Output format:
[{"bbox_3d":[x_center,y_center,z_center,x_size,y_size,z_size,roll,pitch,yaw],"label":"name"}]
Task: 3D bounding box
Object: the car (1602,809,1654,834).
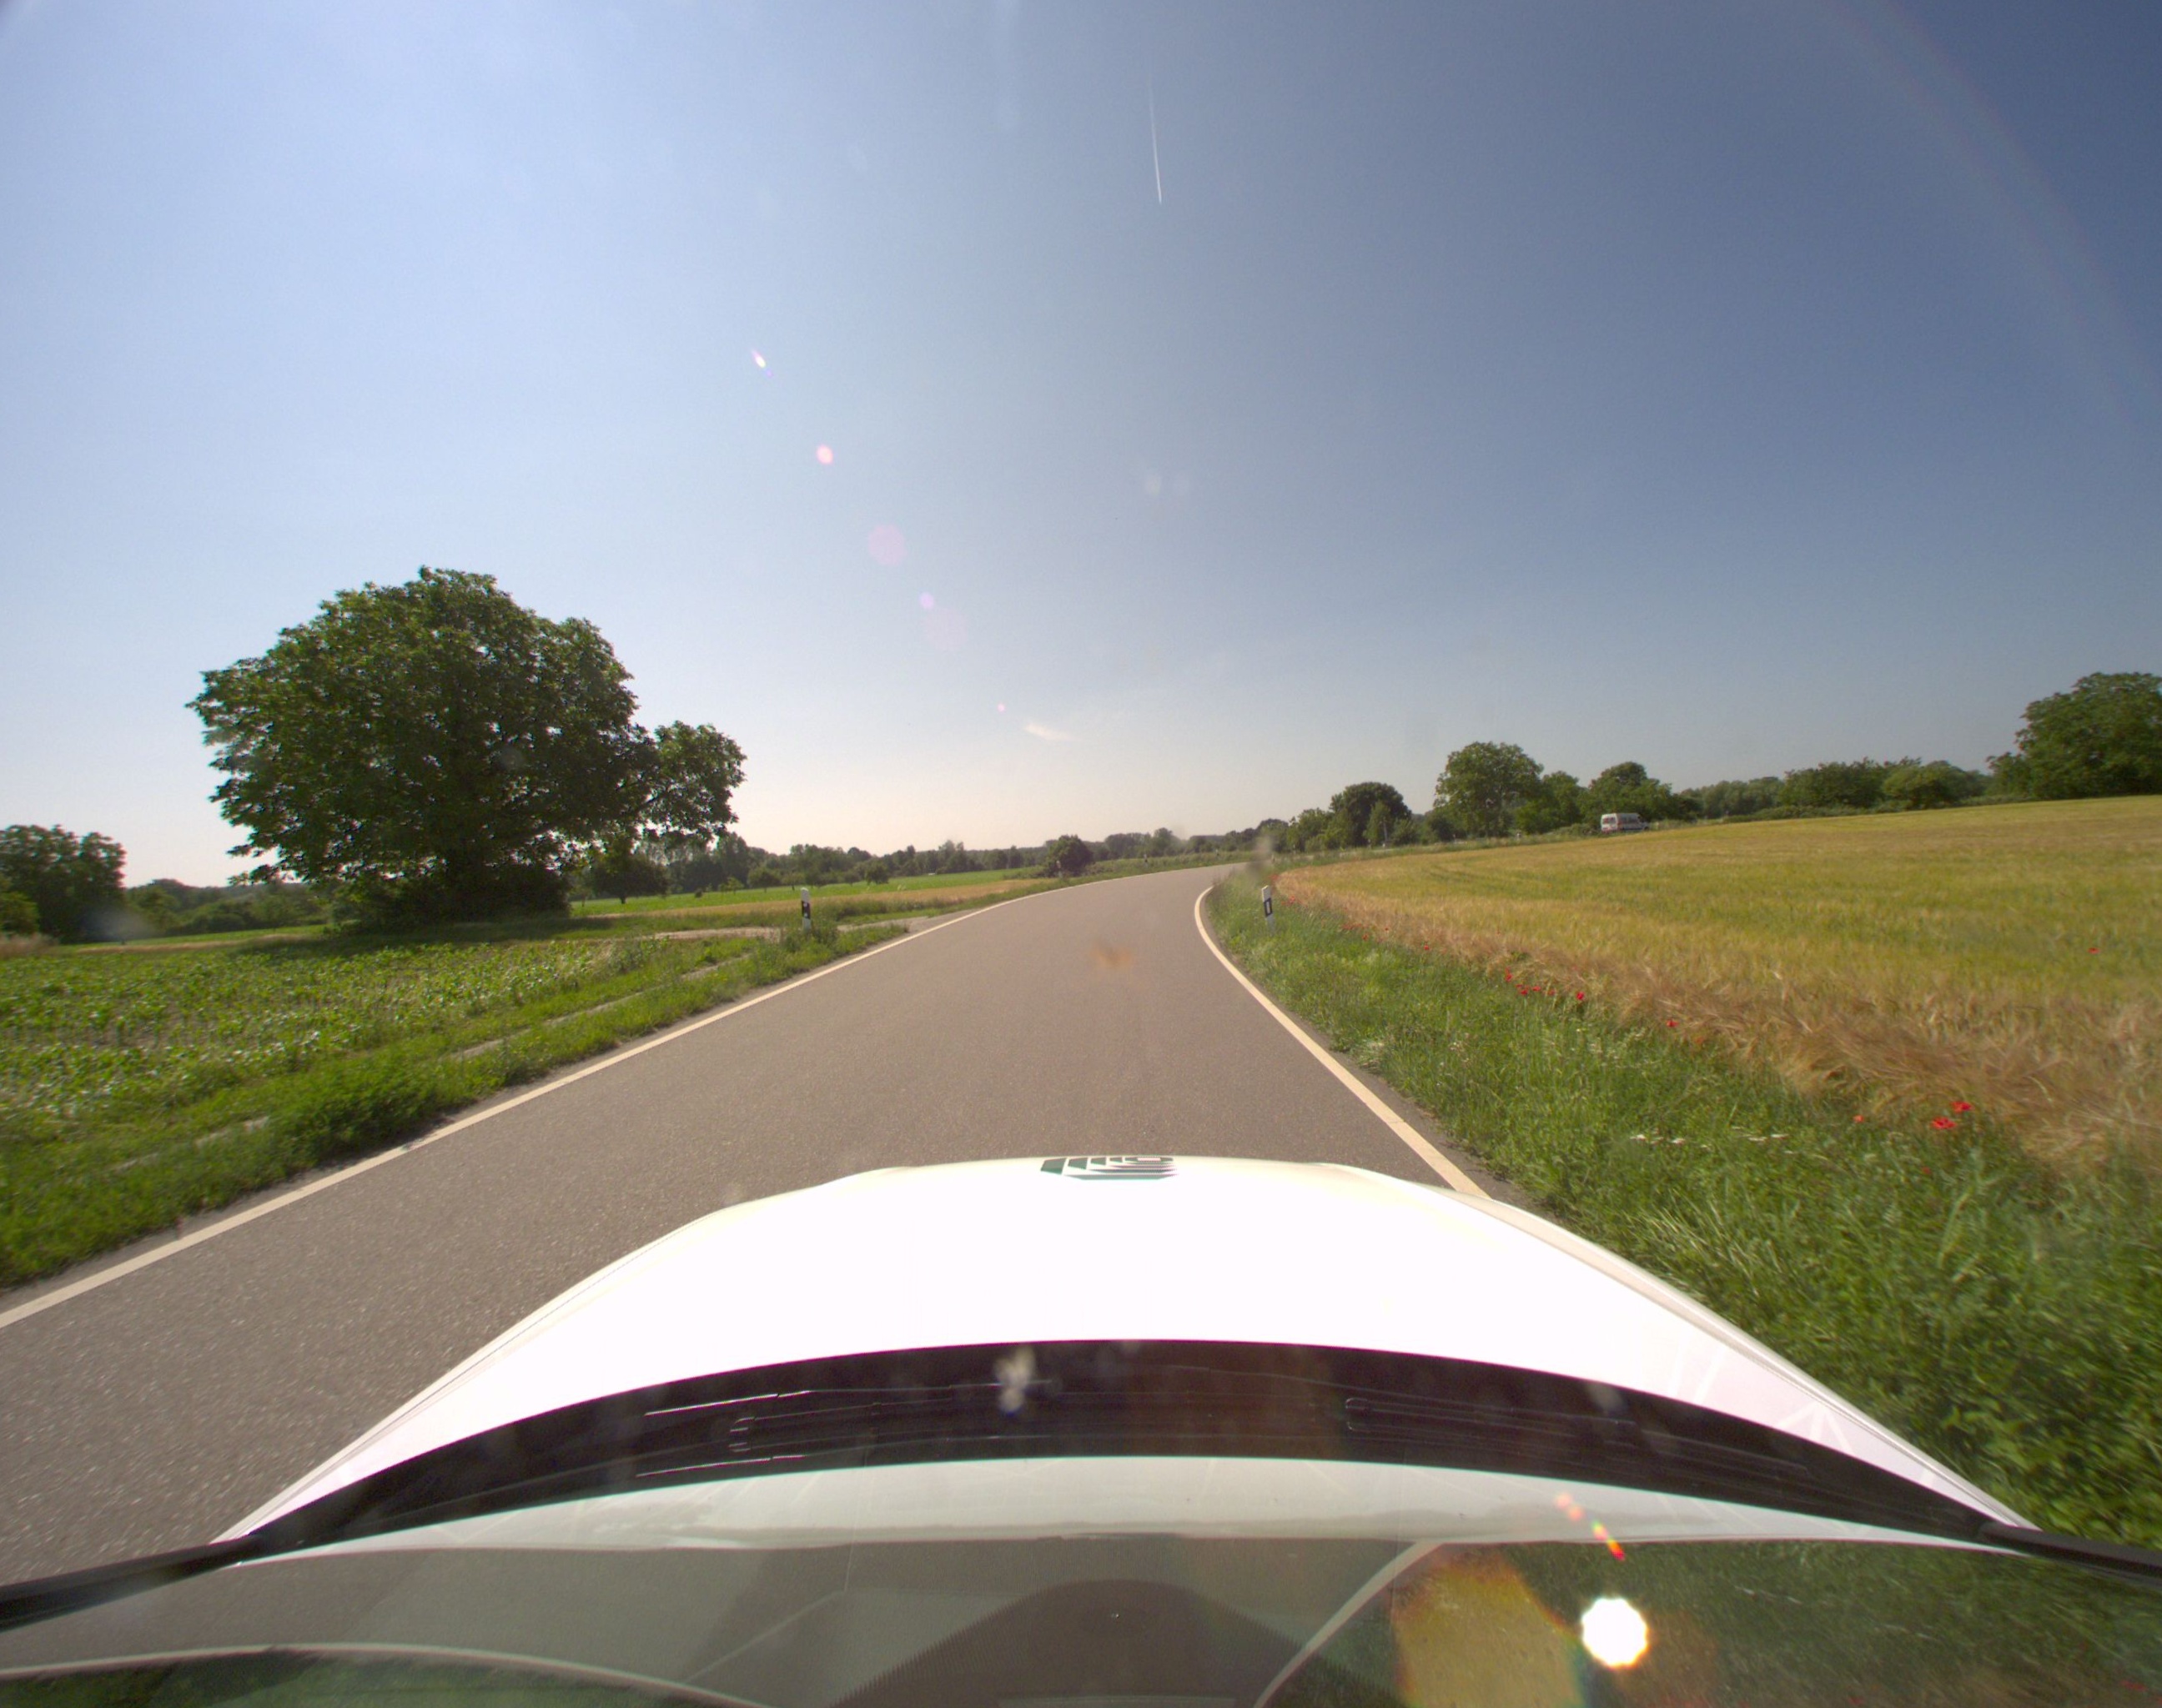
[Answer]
[{"bbox_3d":[62.032,-3.721,92.360,5.696,2.367,2.093,-4,0,-25],"label":"car"}]
